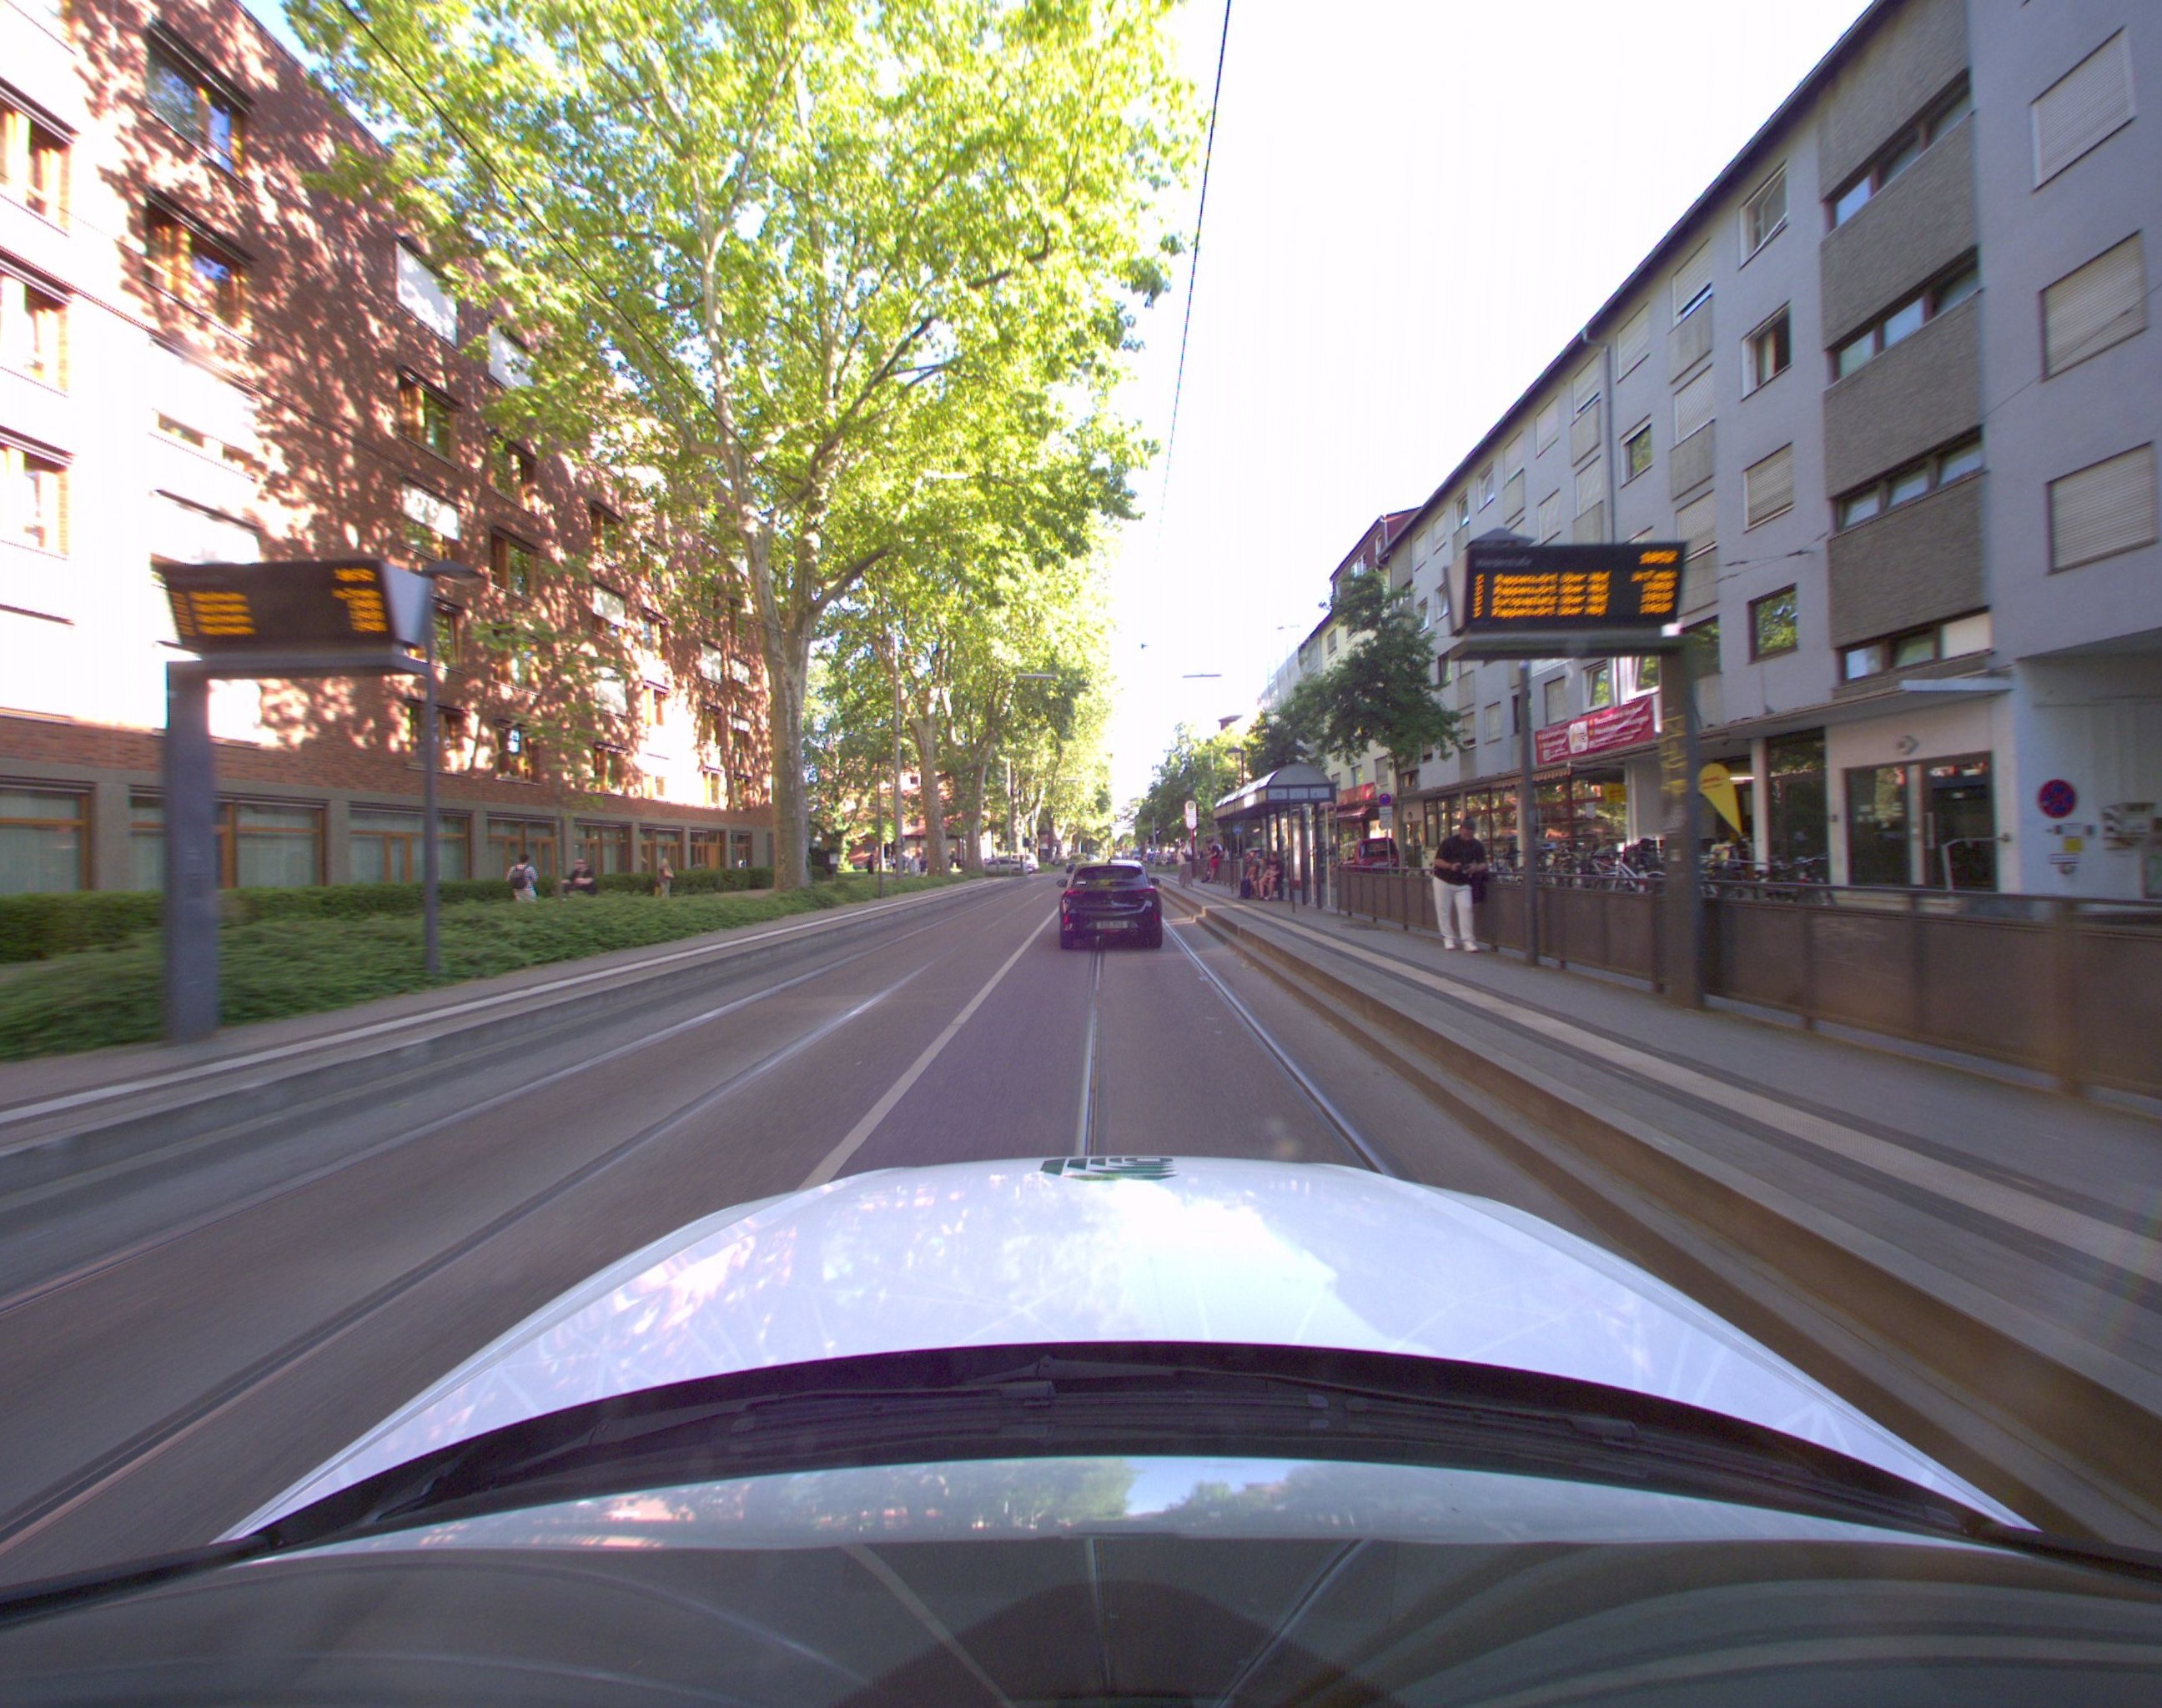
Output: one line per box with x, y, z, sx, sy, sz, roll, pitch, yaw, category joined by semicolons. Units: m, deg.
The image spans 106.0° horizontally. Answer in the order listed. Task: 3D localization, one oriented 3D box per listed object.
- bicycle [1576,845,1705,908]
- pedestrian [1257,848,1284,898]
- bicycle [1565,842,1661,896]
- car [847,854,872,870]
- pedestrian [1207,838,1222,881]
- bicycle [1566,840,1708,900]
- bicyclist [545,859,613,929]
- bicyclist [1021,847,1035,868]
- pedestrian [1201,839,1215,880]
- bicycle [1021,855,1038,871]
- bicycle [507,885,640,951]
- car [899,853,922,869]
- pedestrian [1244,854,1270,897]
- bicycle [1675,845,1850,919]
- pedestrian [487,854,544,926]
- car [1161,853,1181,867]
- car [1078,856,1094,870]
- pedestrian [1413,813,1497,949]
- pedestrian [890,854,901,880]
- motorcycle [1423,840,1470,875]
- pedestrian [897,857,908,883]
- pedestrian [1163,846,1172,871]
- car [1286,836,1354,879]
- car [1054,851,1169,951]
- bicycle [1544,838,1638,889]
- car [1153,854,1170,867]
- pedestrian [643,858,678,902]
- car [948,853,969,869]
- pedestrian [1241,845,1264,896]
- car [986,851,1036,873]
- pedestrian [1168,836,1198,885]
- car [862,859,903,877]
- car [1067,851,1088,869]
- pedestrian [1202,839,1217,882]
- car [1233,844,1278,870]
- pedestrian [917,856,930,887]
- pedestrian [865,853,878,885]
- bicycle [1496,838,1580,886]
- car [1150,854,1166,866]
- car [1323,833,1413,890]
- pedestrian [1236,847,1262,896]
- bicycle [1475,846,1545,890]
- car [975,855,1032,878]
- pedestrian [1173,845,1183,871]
11.031;0.426;16.189;0.602;1.136;2.427;-1;-1;-9;bicycle
4.745;0.467;20.424;0.533;1.230;0.510;-1;-1;-3;pedestrian
11.880;0.320;18.269;0.410;1.136;2.197;-1;-1;-9;bicycle
-28.248;1.063;104.112;1.986;2.014;4.001;-1;-1;2;car
5.540;0.213;33.792;0.529;1.763;0.662;-1;-1;4;pedestrian
11.528;0.324;17.061;0.611;1.136;2.912;-1;-1;-9;bicycle
-10.969;0.860;17.835;0.951;1.491;0.838;-1;-1;1;bicyclist
-4.270;0.295;65.381;0.936;1.703;1.154;-1;-1;4;bicyclist
5.392;0.249;34.512;0.529;1.709;0.596;-1;-1;4;pedestrian
-4.191;0.753;66.275;0.950;1.240;2.981;-1;-1;5;bicycle
-10.970;1.339;17.803;0.951;1.240;2.979;-1;-1;2;bicycle
-21.741;0.944;104.218;1.986;2.014;4.001;-1;-1;2;car
4.522;0.549;20.960;0.533;1.099;0.550;-1;-1;-3;pedestrian
11.346;0.438;13.702;0.621;1.136;2.431;-1;-1;-9;bicycle
-13.469;0.853;19.425;0.732;1.672;0.861;-1;-1;1;pedestrian
10.442;0.698;94.490;1.986;1.632;4.001;-1;-1;2;car
0.600;1.111;98.984;1.779;1.693;3.999;-1;-1;0;car
4.563;0.315;9.980;0.628;1.576;0.871;1;0;2;pedestrian
-14.170;0.998;62.217;0.670;1.950;0.498;0;0;-2;pedestrian
13.905;0.137;31.053;0.888;1.280;2.044;-1;-1;2;motorcycle
-13.458;1.210;61.406;0.670;1.950;0.498;0;0;-2;pedestrian
6.952;0.344;65.198;0.671;2.013;0.703;0;0;7;pedestrian
10.819;0.166;37.153;1.986;1.797;4.000;-1;-1;1;car
0.469;0.758;14.621;1.754;1.508;3.682;-2;-1;-1;car
12.192;0.225;19.574;0.597;1.136;2.197;-1;-1;-9;bicycle
10.562;0.812;107.448;1.986;1.632;4.001;-1;-1;2;car
-15.620;0.968;30.271;0.772;1.605;0.946;-1;-1;1;pedestrian
-15.729;0.893;104.799;1.986;2.014;4.001;-1;-1;2;car
4.525;0.433;21.477;0.501;1.304;0.428;-1;-1;-3;pedestrian
-6.179;0.675;71.834;4.379;1.851;1.996;-1;-1;-6;car
3.645;0.243;29.042;0.742;1.709;0.768;-1;-1;36;pedestrian
-23.511;1.647;96.527;4.234;2.014;2.000;-1;-1;1;car
-0.284;0.539;72.351;1.740;1.544;3.999;-1;-1;0;car
5.202;0.252;33.082;0.529;1.709;0.752;-1;-1;4;pedestrian
10.535;0.194;49.445;1.986;1.486;4.001;-1;-1;2;car
-9.862;1.110;51.014;0.669;1.950;0.498;-1;-1;1;pedestrian
-12.975;0.910;50.367;0.493;1.950;0.677;-1;-1;14;pedestrian
11.488;0.205;20.572;0.597;1.136;2.197;-1;-1;-9;bicycle
10.701;0.867;113.744;1.986;1.632;4.001;-1;-1;2;car
10.589;0.273;30.360;1.986;1.952;4.000;-1;-1;1;car
4.531;0.463;21.988;0.533;1.304;0.550;-1;-1;-3;pedestrian
11.691;0.366;22.279;0.596;1.136;2.200;-1;-1;-4;bicycle
-5.799;0.922;61.102;4.108;1.701;1.880;-1;-1;-6;car
7.712;0.313;64.869;0.670;2.013;0.704;0;0;13;pedestrian
